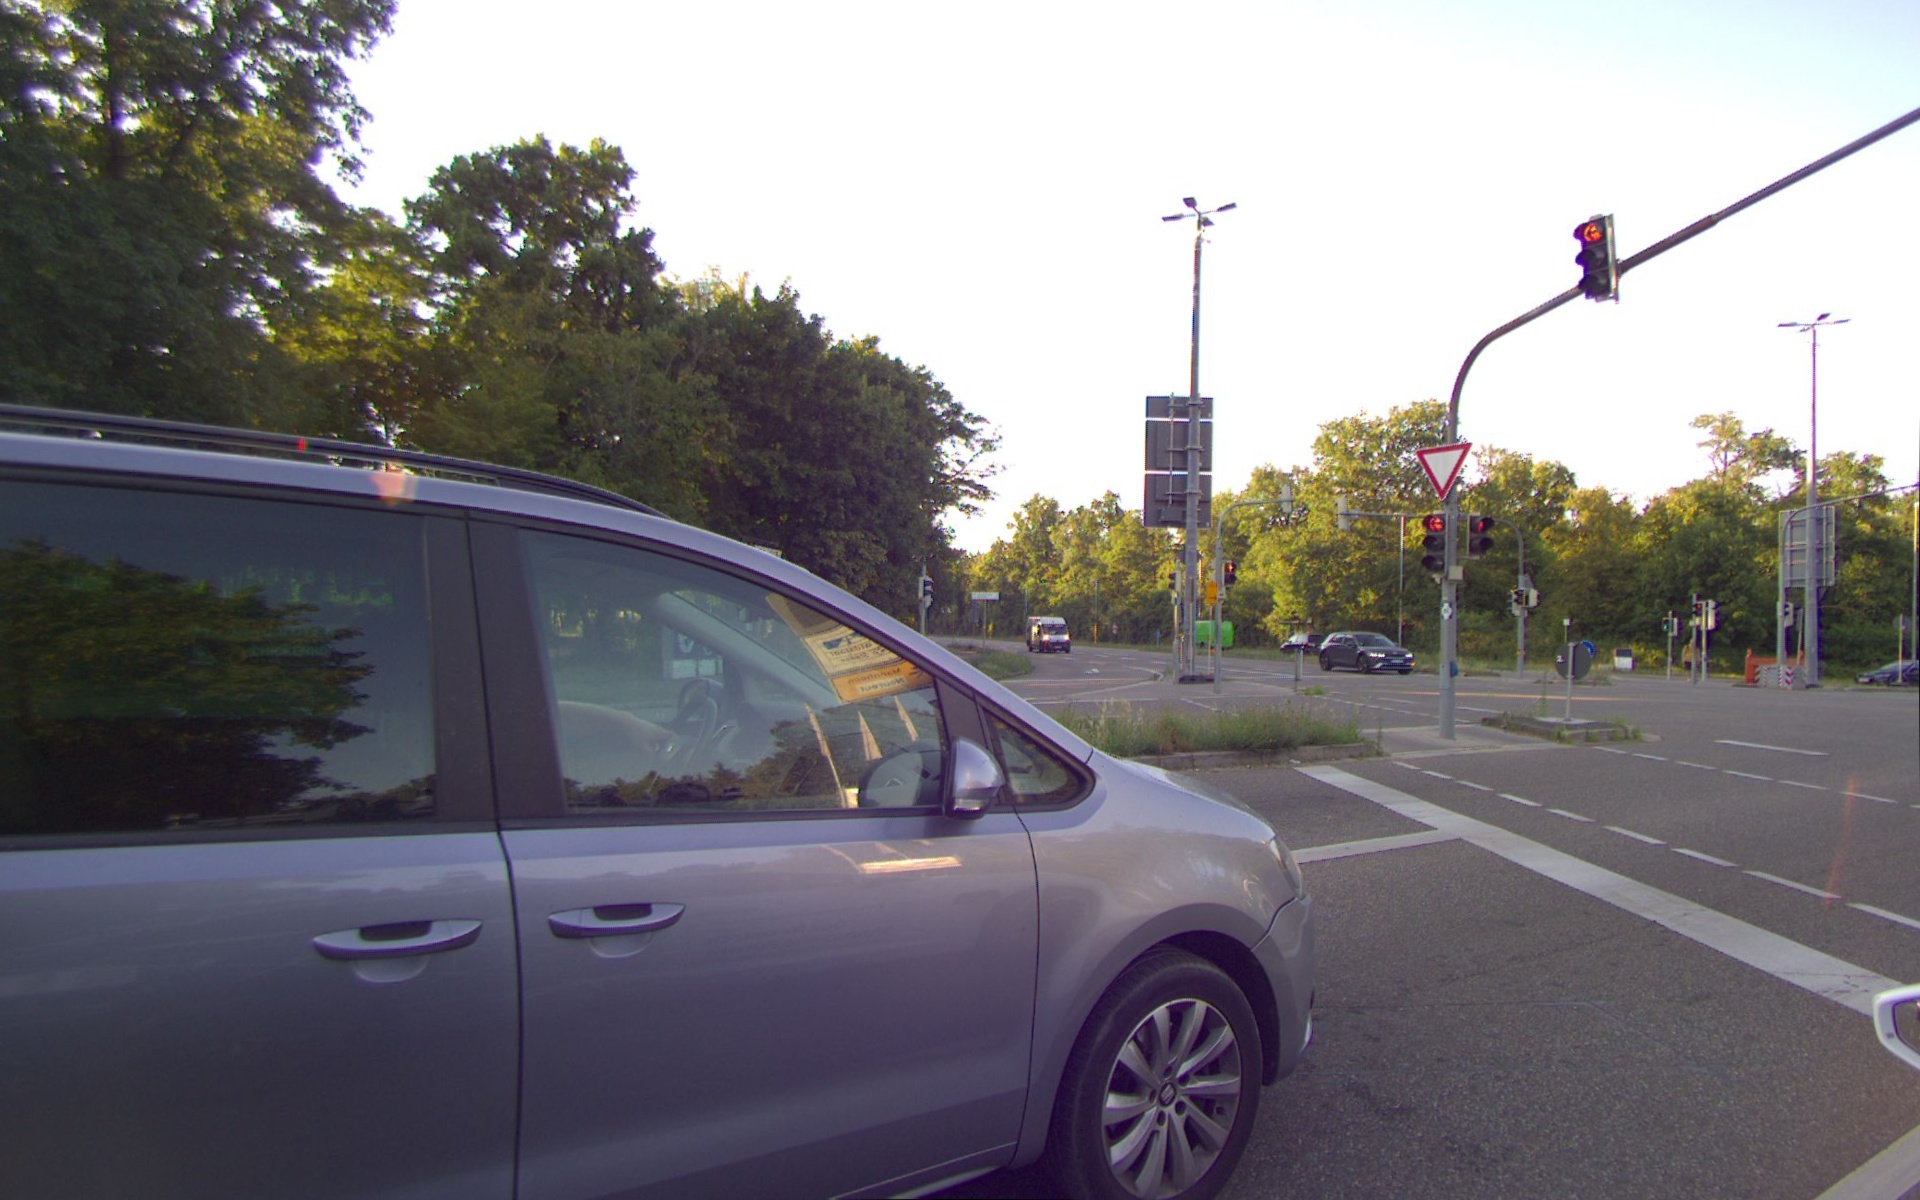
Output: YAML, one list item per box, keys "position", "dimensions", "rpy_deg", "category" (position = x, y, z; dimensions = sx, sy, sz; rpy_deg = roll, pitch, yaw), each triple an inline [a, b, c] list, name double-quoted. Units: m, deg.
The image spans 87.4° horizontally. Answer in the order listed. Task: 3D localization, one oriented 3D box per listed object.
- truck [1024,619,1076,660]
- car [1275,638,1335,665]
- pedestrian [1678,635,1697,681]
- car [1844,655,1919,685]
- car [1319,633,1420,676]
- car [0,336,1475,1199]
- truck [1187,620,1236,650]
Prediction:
- position: [6.243, 2.686, 70.515]
  dimensions: [2.556, 2.591, 6.018]
  rpy_deg: [2, 0, -5]
  category: "truck"
- position: [20.193, 3.008, 58.984]
  dimensions: [1.634, 1.345, 4.041]
  rpy_deg: [2, 0, -8]
  category: "car"
- position: [29.751, 2.370, 41.085]
  dimensions: [0.566, 1.824, 0.748]
  rpy_deg: [0, -2, 33]
  category: "pedestrian"
- position: [43.164, 3.229, 46.266]
  dimensions: [3.577, 1.260, 1.607]
  rpy_deg: [1, -2, -2]
  category: "car"
- position: [15.999, 2.100, 39.475]
  dimensions: [1.966, 1.540, 3.995]
  rpy_deg: [1, -1, -8]
  category: "car"
- position: [-0.966, 0.591, 2.432]
  dimensions: [4.608, 1.747, 1.856]
  rpy_deg: [2, -2, -32]
  category: "car"
- position: [18.370, 2.537, 73.549]
  dimensions: [1.965, 2.149, 3.992]
  rpy_deg: [2, -1, -11]
  category: "truck"
